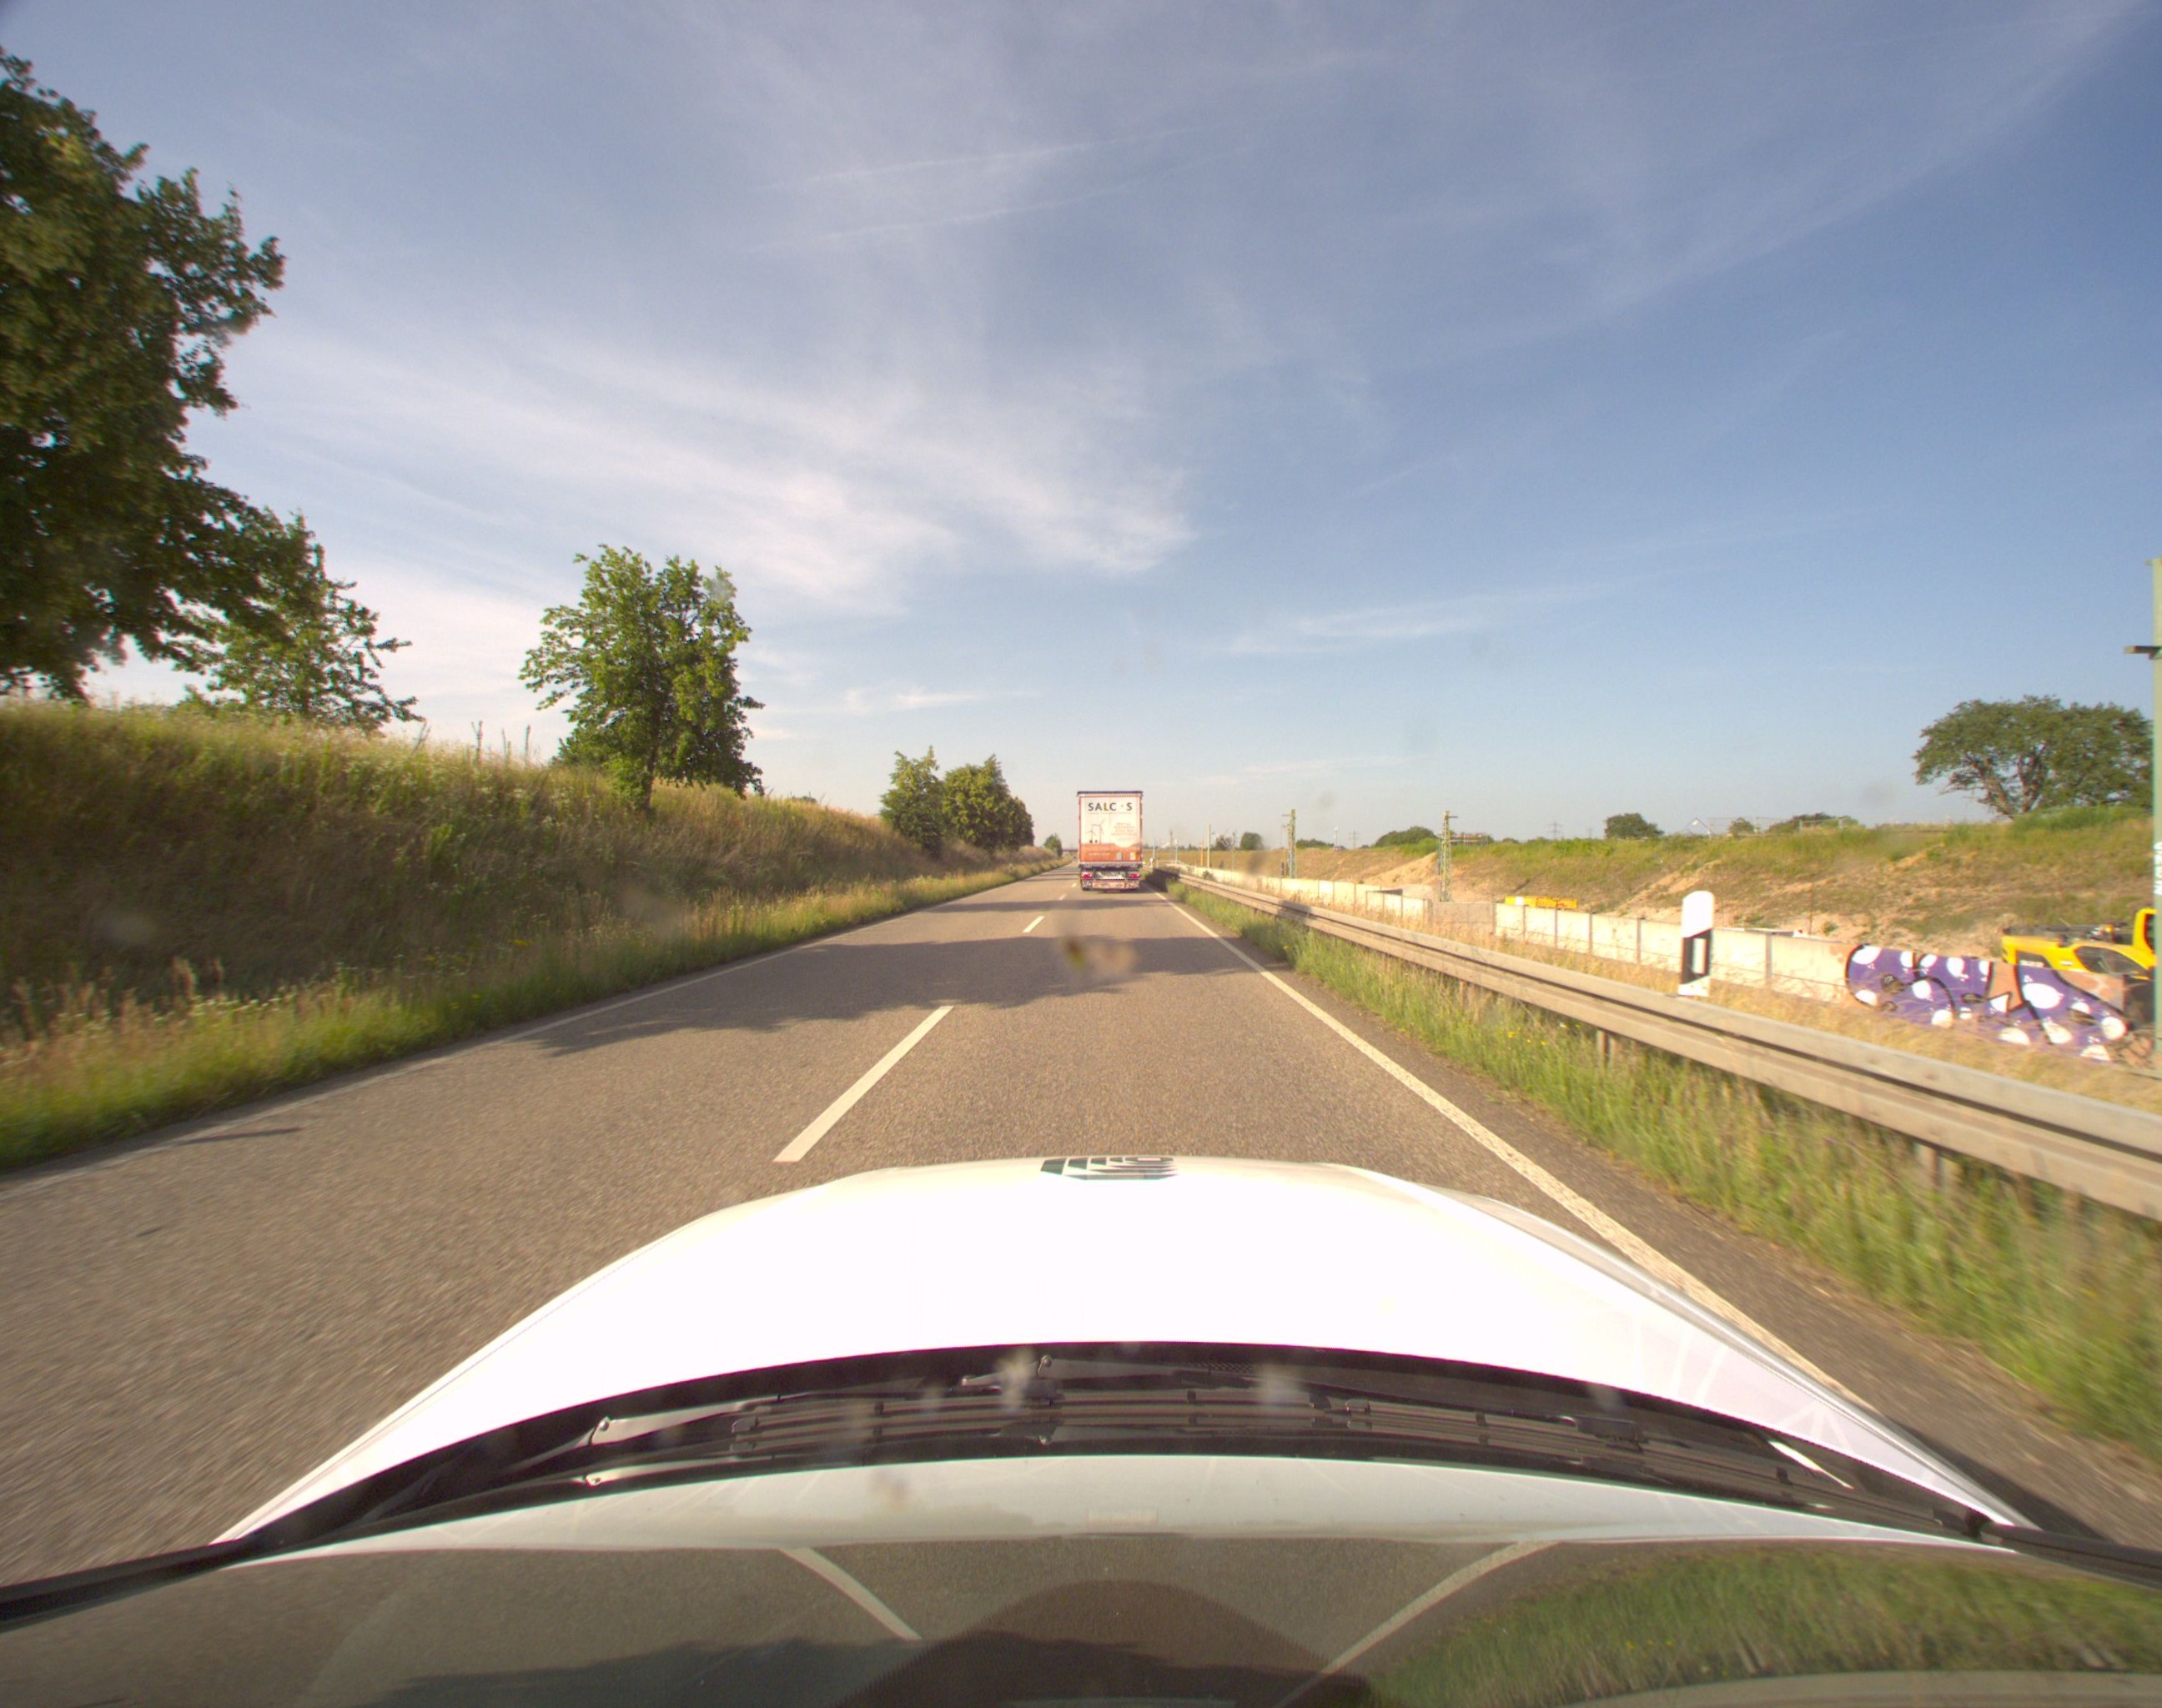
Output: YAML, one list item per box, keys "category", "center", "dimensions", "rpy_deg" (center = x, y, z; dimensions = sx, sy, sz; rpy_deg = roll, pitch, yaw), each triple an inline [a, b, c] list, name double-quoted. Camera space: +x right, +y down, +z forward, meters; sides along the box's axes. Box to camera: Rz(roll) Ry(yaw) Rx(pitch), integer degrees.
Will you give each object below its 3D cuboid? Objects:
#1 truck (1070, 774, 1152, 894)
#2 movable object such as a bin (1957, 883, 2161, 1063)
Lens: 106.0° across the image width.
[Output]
- category: "truck"
  center: [1.370, -0.783, 36.074]
  dimensions: [3.140, 4.688, 8.447]
  rpy_deg: [-1, 0, 3]
- category: "movable object such as a bin"
  center: [21.644, 2.308, 14.955]
  dimensions: [2.612, 3.239, 8.076]
  rpy_deg: [0, 0, 1]
